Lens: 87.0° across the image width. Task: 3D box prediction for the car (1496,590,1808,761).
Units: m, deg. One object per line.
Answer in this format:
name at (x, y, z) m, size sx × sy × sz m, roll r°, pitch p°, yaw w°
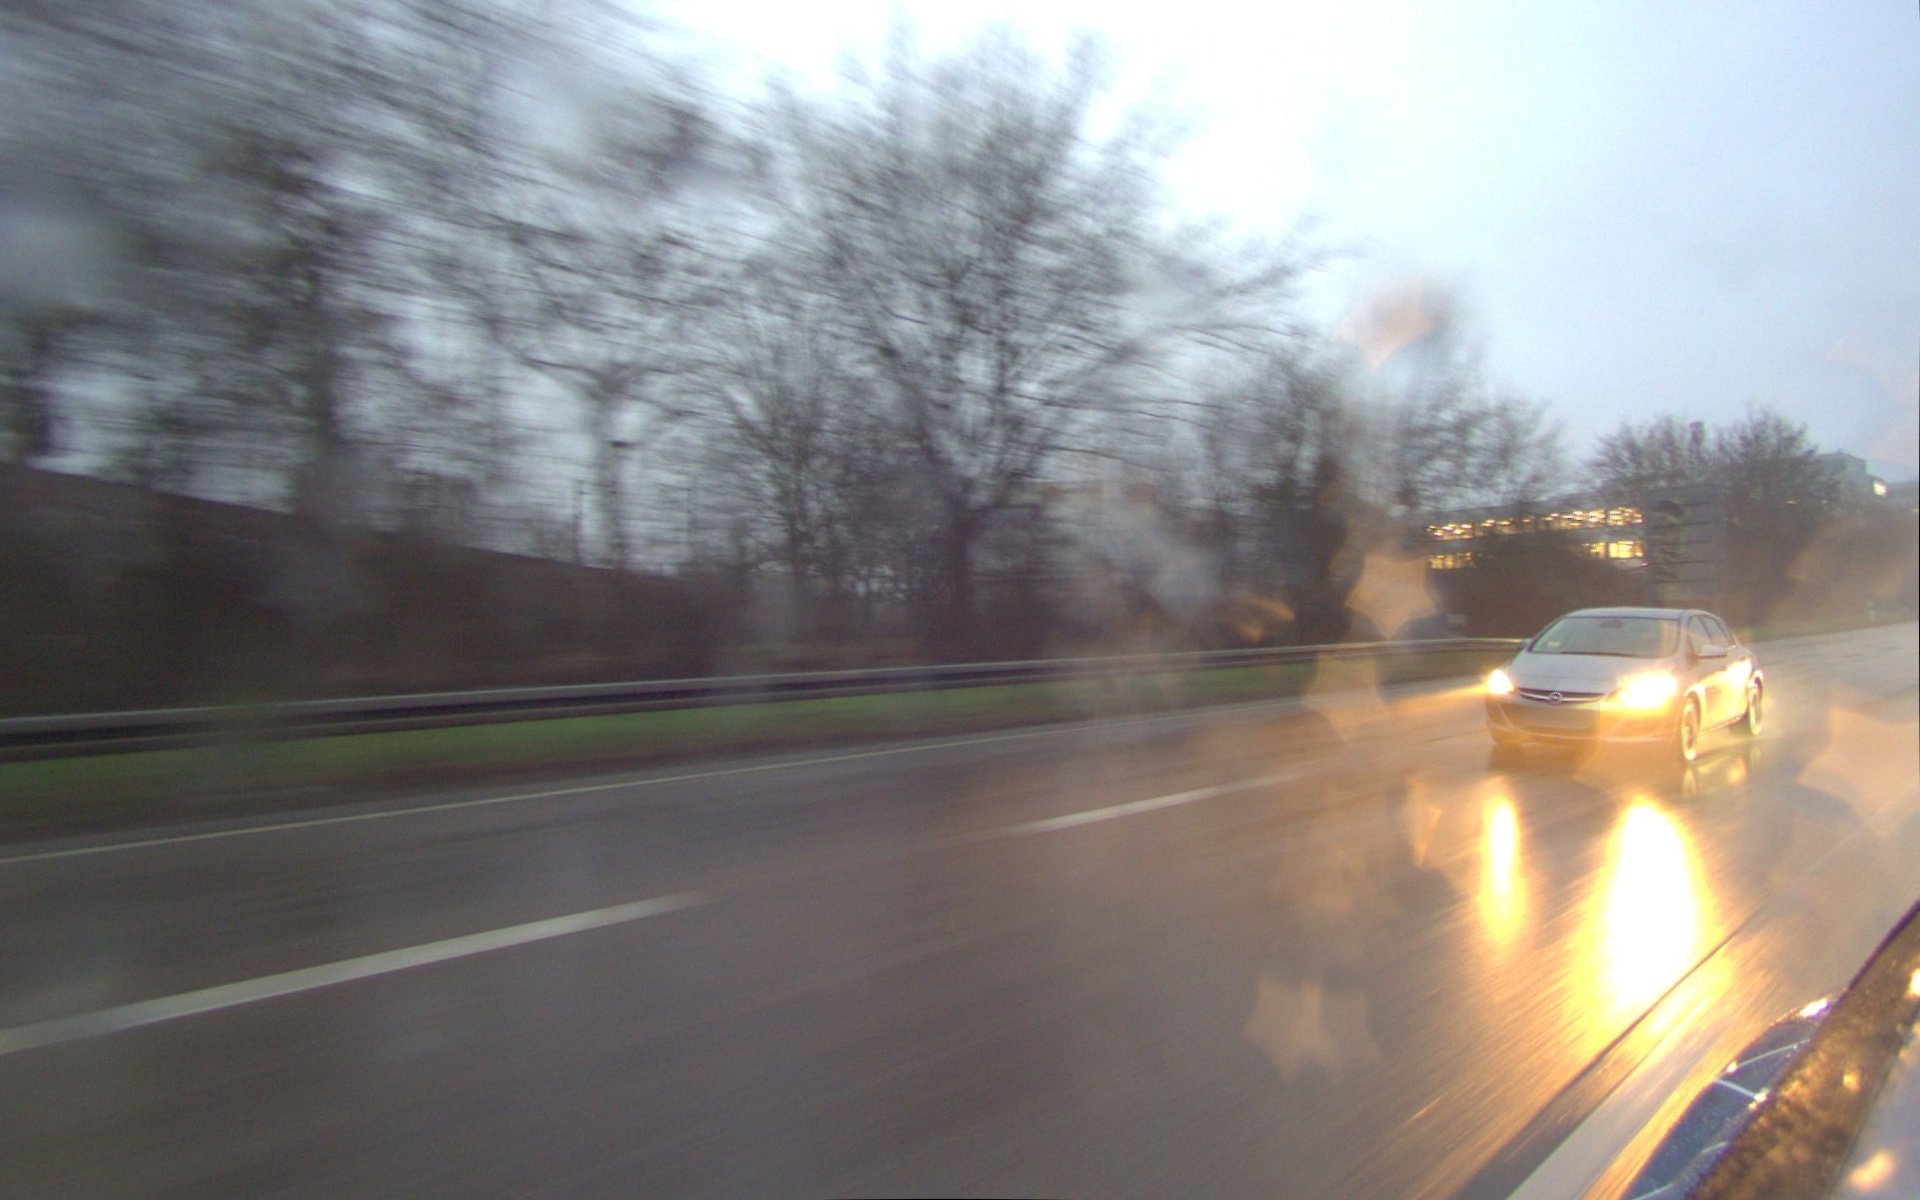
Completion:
car at (7.966, 0.713, 11.514) m, size 4.188 × 1.521 × 1.852 m, roll -2°, pitch -1°, yaw -40°
